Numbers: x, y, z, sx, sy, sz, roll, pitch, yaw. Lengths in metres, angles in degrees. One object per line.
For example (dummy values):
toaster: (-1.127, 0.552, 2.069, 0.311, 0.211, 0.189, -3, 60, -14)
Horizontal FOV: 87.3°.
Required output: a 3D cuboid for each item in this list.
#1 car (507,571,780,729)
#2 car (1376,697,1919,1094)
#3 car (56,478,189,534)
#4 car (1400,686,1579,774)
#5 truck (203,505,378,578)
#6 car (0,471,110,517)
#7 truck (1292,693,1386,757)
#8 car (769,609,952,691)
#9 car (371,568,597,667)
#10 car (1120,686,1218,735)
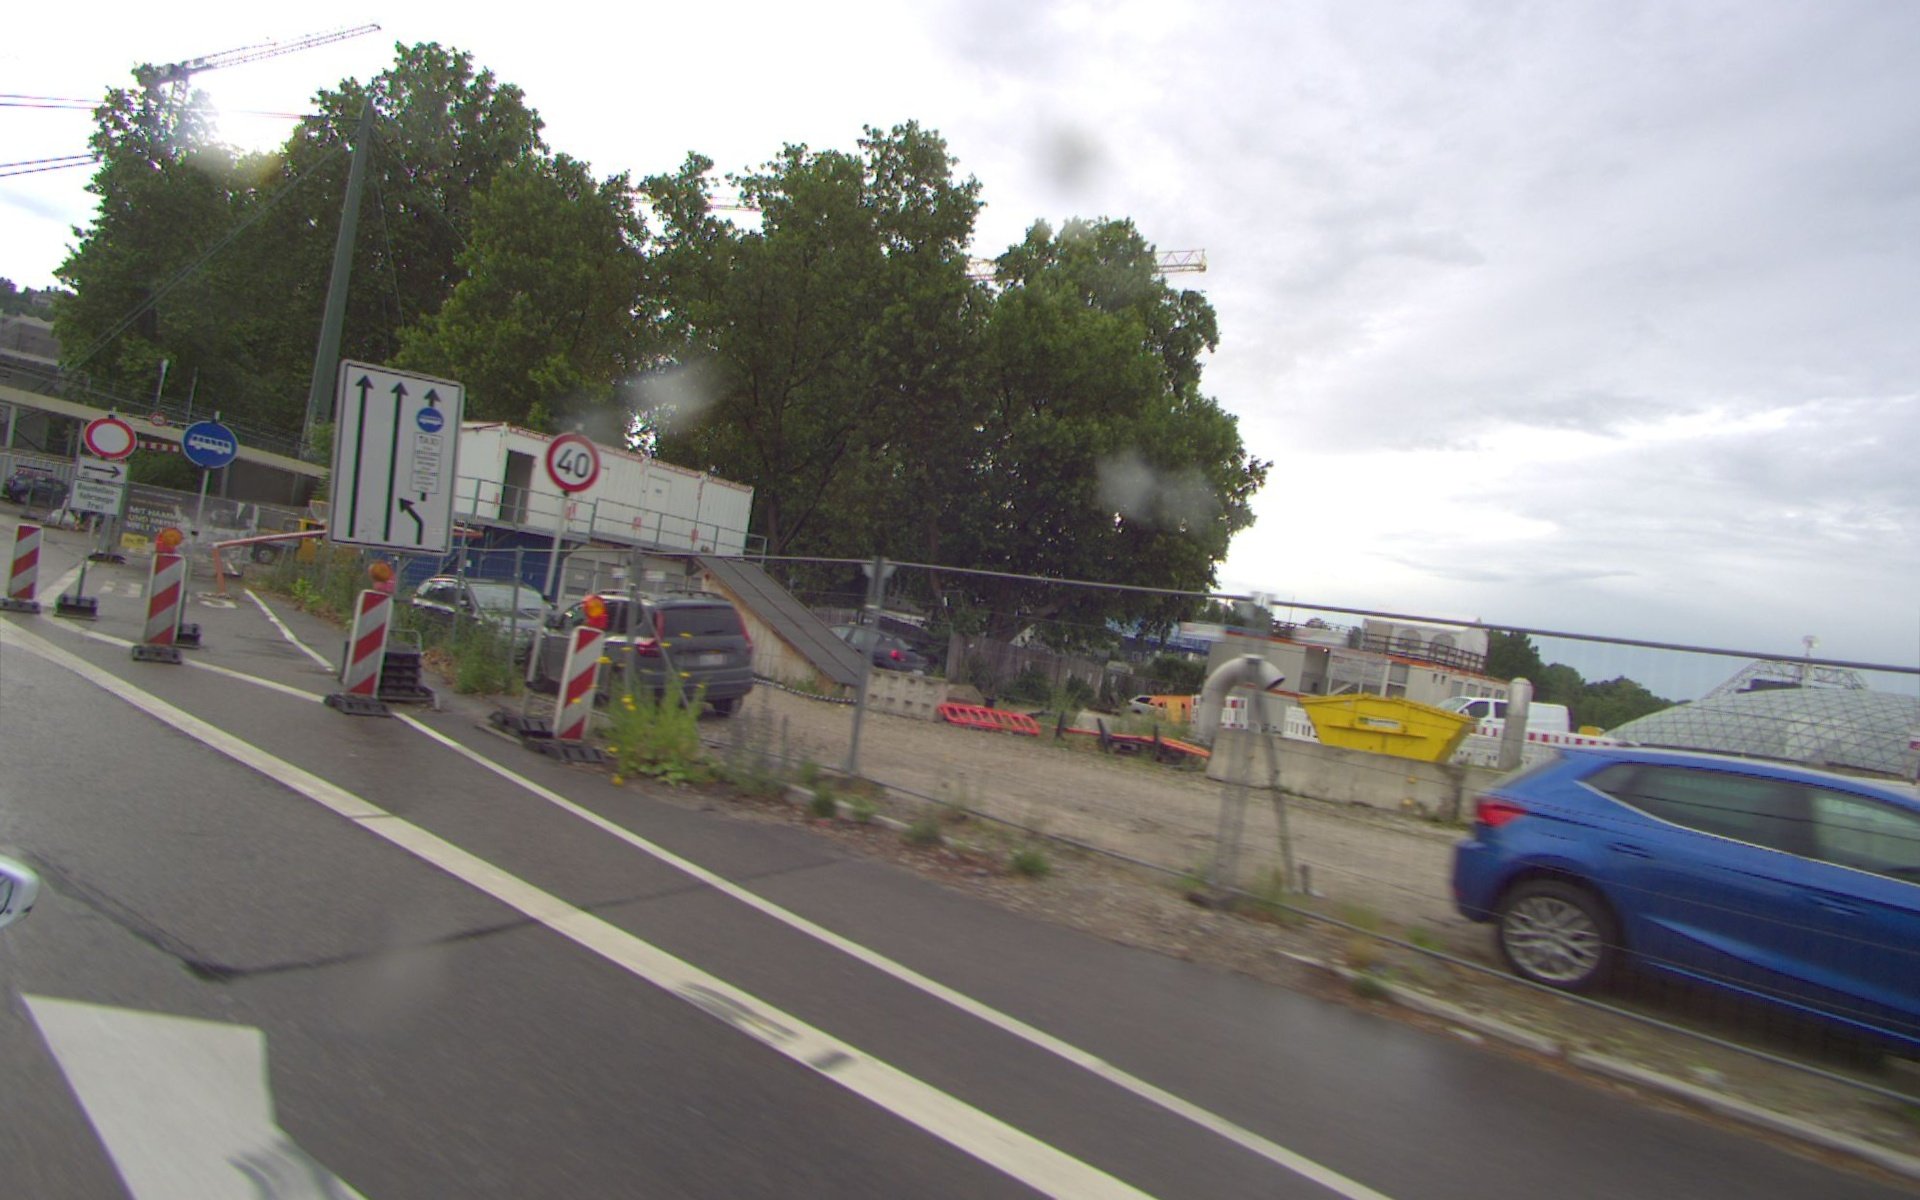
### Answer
car: (-4.699, 0.604, 14.527, 1.914, 1.672, 4.356, 2, 3, -45)
car: (4.880, 1.649, 5.501, 4.350, 1.457, 1.833, 7, -3, 41)
car: (-40.898, -4.555, 49.233, 1.967, 1.748, 4.508, 9, -1, 32)
car: (18.762, 4.595, 35.760, 5.169, 2.308, 1.953, 7, 1, -5)
truck: (-26.657, -2.283, 40.266, 2.369, 2.037, 5.165, 7, -2, 30)
car: (-52.244, -6.076, 58.001, 1.759, 1.648, 4.548, 10, 0, 35)
truck: (16.767, 5.550, 44.310, 2.373, 2.073, 5.559, 7, -5, 36)
car: (-2.376, 1.179, 23.827, 3.932, 1.320, 1.716, 7, -3, 30)
car: (-8.929, 0.318, 18.839, 3.933, 1.502, 1.854, 4, -1, 30)
car: (10.001, 5.259, 48.230, 4.063, 1.597, 1.833, 7, 1, 32)
